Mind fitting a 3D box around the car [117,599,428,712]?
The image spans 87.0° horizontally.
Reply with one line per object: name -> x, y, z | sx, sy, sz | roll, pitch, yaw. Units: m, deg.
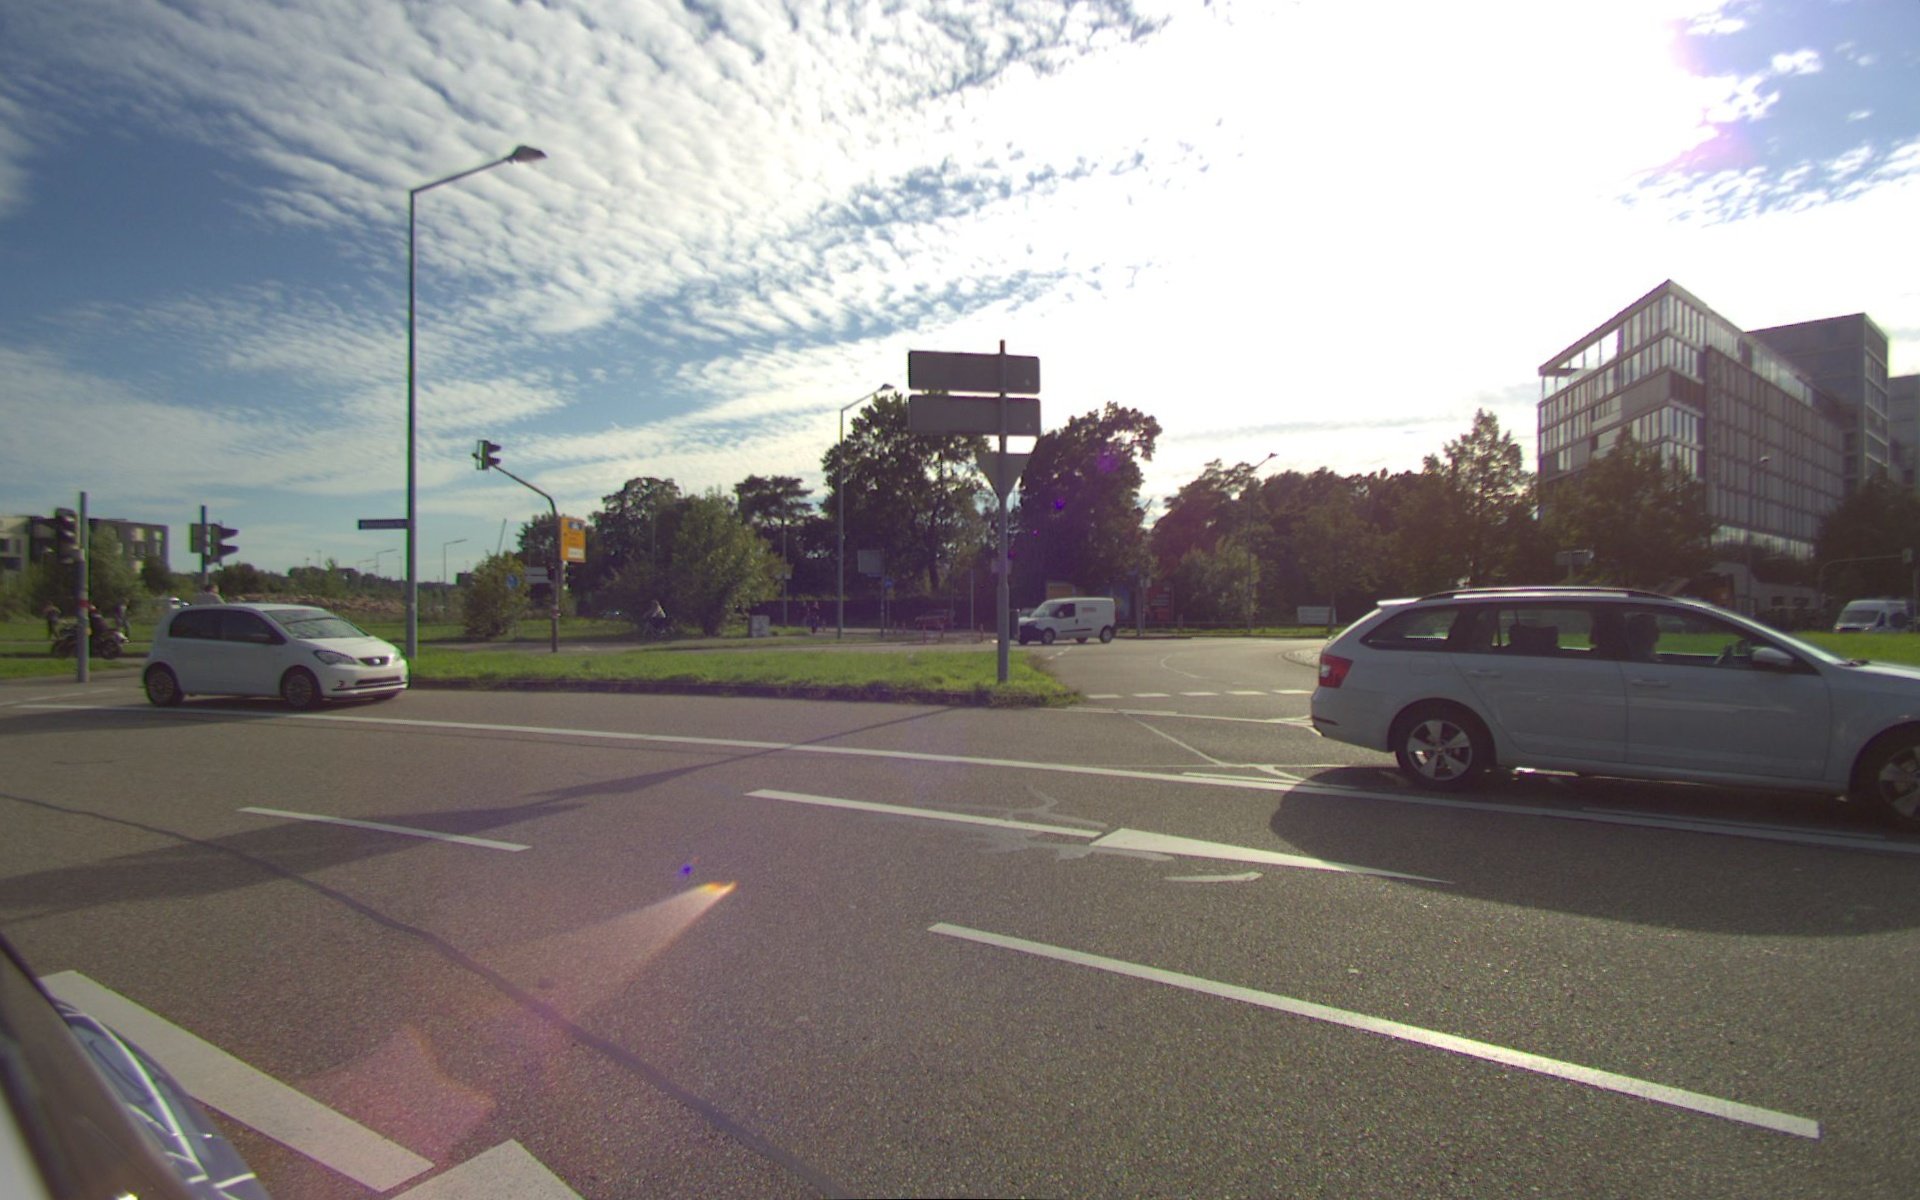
car -> -9.971, 0.748, 14.788 | 3.621, 1.475, 1.761 | 0, 1, 12

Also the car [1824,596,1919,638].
car -> 52.467, 1.004, 57.607 | 5.920, 2.281, 2.072 | 1, -3, -17

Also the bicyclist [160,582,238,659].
bicyclist -> -15.994, 0.427, 21.289 | 0.985, 1.567, 0.864 | 0, -1, 6

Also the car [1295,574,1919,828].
car -> 5.042, 0.600, 7.317 | 4.630, 1.456, 1.834 | -1, 0, 36

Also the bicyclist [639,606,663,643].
bicyclist -> -12.422, 0.970, 40.713 | 0.610, 1.456, 0.689 | 2, 1, 39

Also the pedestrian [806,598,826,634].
pedestrian -> -7.932, 0.886, 55.831 | 0.851, 1.930, 0.900 | -1, 2, -25

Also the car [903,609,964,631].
car -> -1.859, 1.356, 69.580 | 3.993, 1.431, 1.747 | 0, 0, 37

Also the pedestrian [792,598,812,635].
pedestrian -> -8.640, 0.899, 55.332 | 0.851, 1.930, 0.900 | -1, 2, -25

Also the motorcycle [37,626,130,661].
motorcycle -> -26.166, 1.292, 30.231 | 1.992, 0.994, 0.786 | 0, -1, -8

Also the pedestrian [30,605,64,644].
pedestrian -> -35.862, 0.958, 39.758 | 0.747, 1.519, 0.628 | 0, 2, 4

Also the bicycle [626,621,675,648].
bicycle -> -12.430, 1.379, 40.680 | 0.611, 0.995, 1.813 | 3, 1, 40

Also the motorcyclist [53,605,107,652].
motorcyclist -> -26.275, 0.835, 30.225 | 0.928, 1.376, 0.786 | 0, -1, -7

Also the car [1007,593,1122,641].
car -> 4.206, 0.729, 40.510 | 4.484, 1.839, 1.690 | 1, -3, -33

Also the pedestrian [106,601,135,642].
pedestrian -> -33.352, 0.850, 40.215 | 0.649, 1.641, 0.628 | 0, 1, 4

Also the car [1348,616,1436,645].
car -> 22.813, 1.627, 53.533 | 3.949, 1.513, 1.681 | -1, -3, 9
